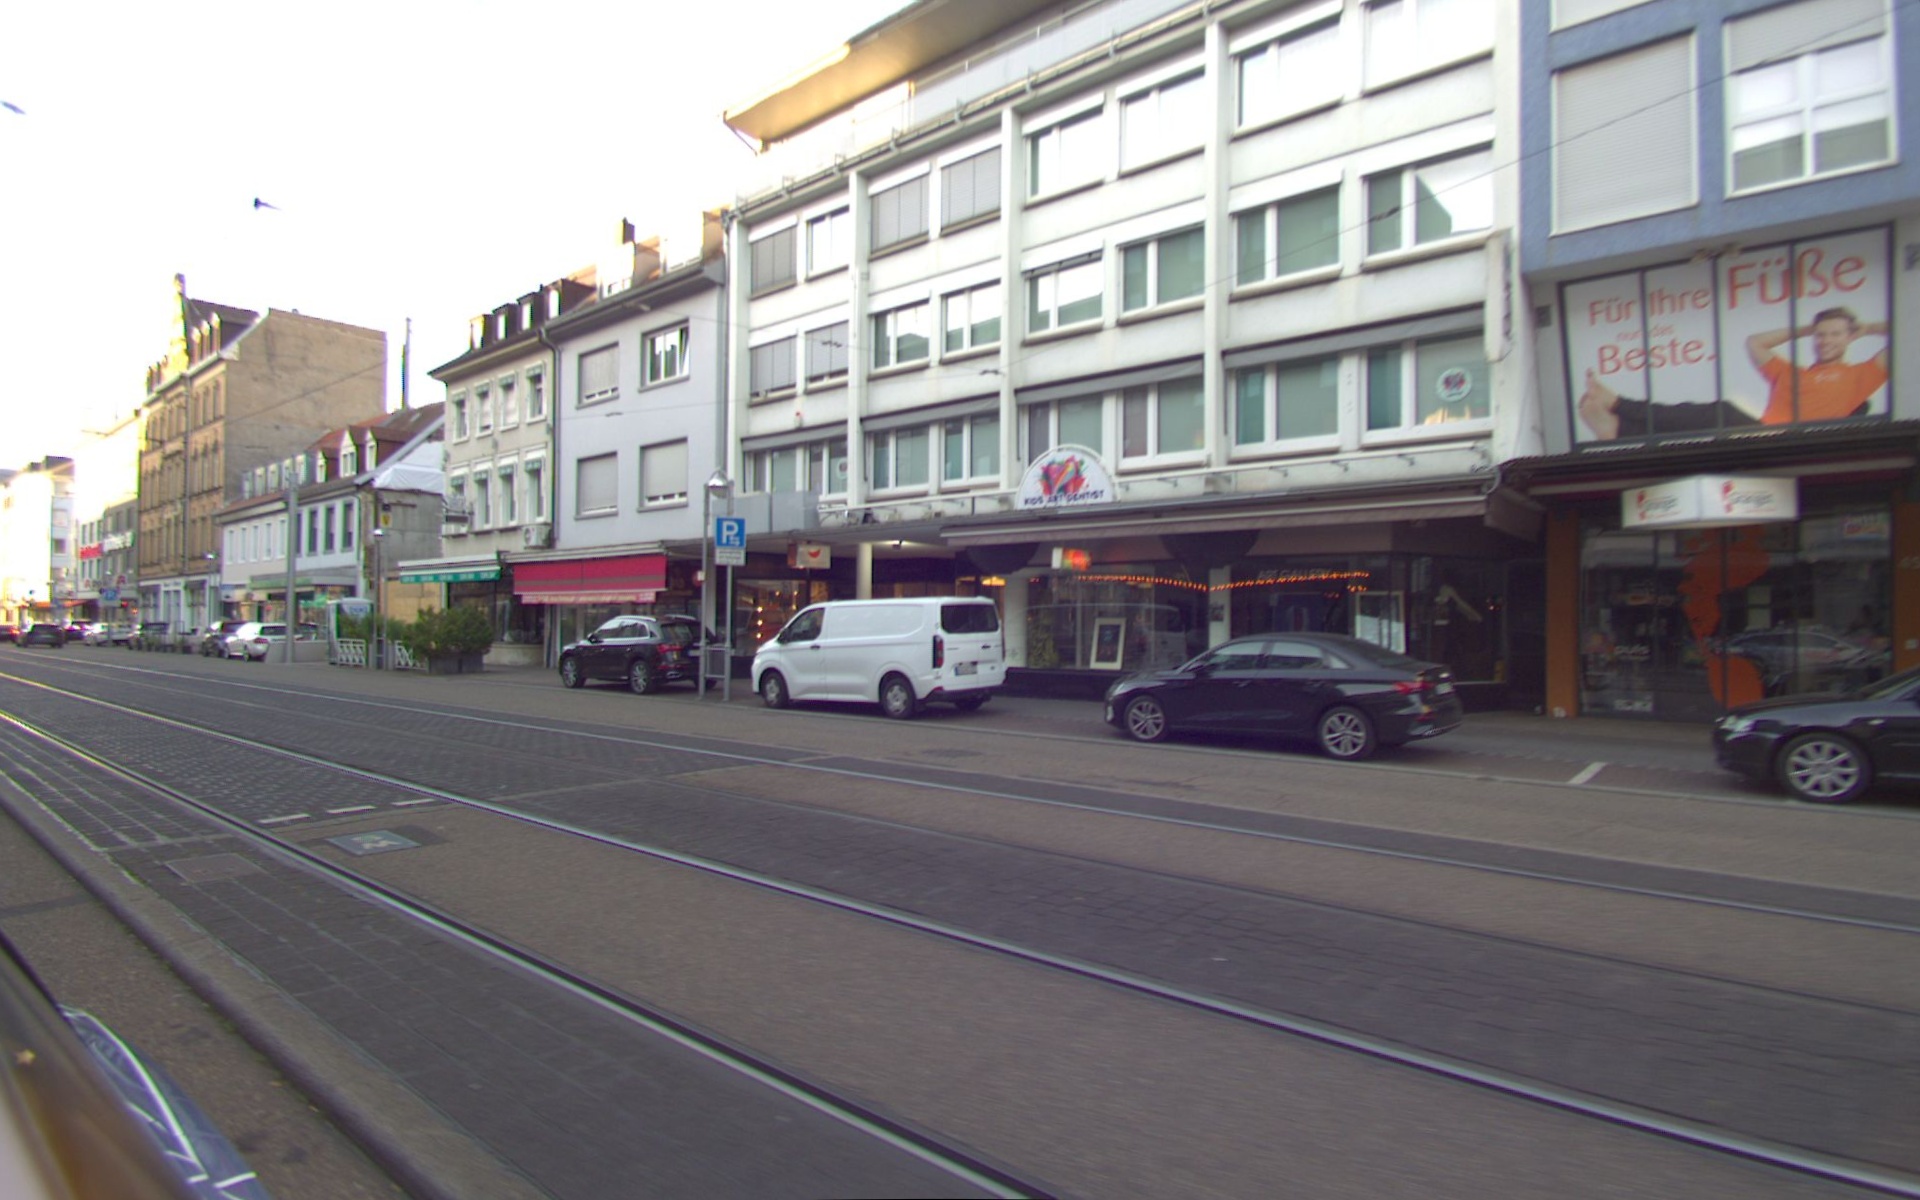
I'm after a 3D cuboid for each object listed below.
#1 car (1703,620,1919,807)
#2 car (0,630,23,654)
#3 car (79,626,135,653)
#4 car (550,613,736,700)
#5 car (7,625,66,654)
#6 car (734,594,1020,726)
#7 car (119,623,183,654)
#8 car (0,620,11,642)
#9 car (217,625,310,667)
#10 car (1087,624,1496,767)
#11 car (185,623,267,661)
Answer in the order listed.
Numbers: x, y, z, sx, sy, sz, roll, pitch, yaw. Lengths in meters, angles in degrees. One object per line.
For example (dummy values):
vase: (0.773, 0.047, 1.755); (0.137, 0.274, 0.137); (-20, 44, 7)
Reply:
car: (9.048, 0.936, 8.449); (4.444, 1.523, 1.668); (-1, -1, 41)
car: (-65.450, 2.858, 68.868); (3.998, 1.564, 1.973); (-1, -2, 41)
car: (-52.201, 2.395, 61.936); (4.204, 1.564, 1.973); (-1, -2, 41)
car: (-7.197, 1.187, 22.738); (4.524, 1.734, 1.839); (-1, -1, 40)
car: (-52.197, 2.204, 57.180); (3.998, 1.564, 1.973); (-1, -2, 41)
car: (-1.581, 0.977, 17.762); (5.158, 1.992, 1.935); (-1, -2, 40)
car: (-43.144, 2.024, 53.952); (3.998, 1.564, 1.973); (-1, -2, 41)
car: (-70.684, 2.245, 73.584); (3.998, 1.564, 1.973); (-1, -2, 41)
car: (-27.805, 1.801, 40.343); (4.876, 1.556, 1.972); (-1, -1, 42)
car: (4.079, 1.057, 12.897); (4.554, 1.477, 1.973); (-1, -1, 40)
car: (-31.864, 1.784, 43.886); (4.550, 1.556, 1.889); (-1, -2, 41)
